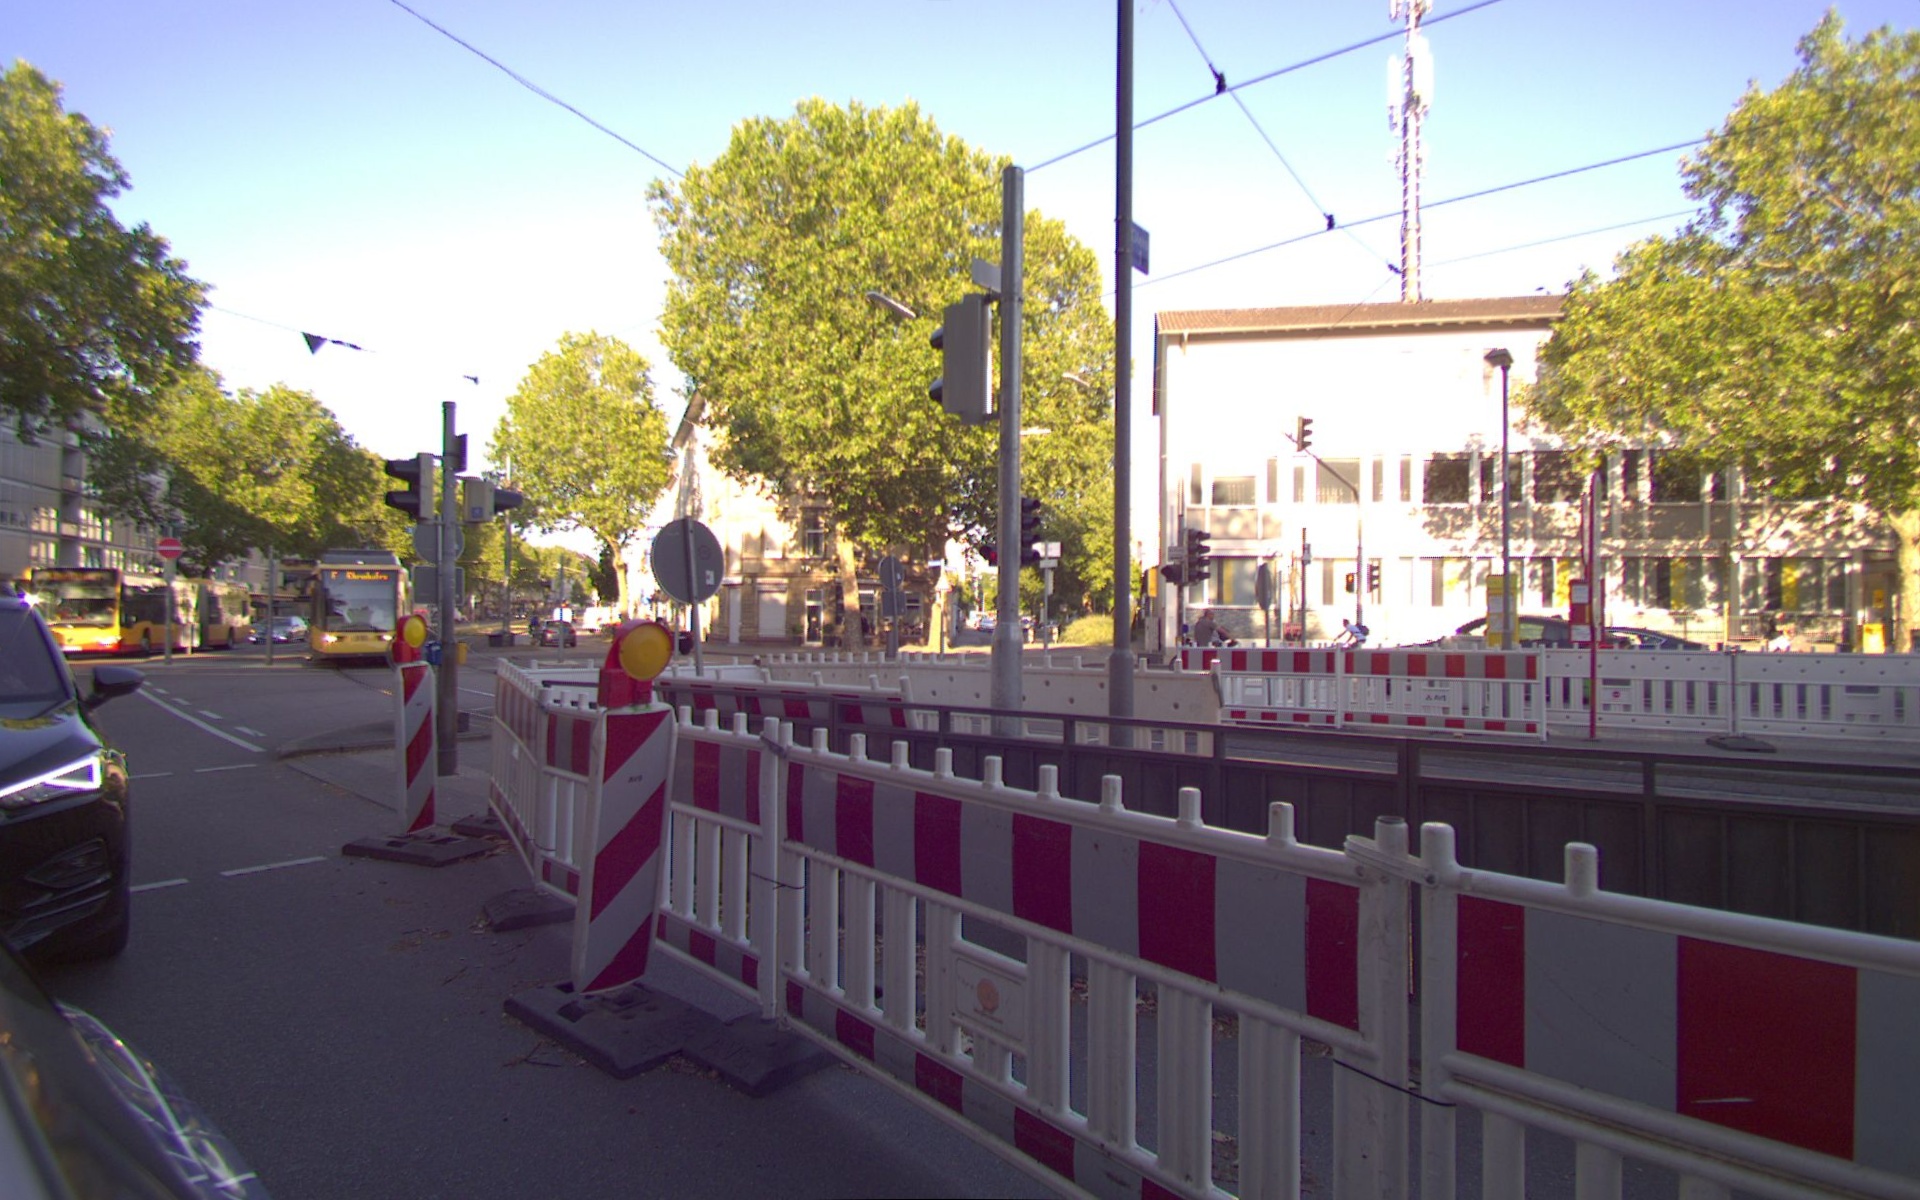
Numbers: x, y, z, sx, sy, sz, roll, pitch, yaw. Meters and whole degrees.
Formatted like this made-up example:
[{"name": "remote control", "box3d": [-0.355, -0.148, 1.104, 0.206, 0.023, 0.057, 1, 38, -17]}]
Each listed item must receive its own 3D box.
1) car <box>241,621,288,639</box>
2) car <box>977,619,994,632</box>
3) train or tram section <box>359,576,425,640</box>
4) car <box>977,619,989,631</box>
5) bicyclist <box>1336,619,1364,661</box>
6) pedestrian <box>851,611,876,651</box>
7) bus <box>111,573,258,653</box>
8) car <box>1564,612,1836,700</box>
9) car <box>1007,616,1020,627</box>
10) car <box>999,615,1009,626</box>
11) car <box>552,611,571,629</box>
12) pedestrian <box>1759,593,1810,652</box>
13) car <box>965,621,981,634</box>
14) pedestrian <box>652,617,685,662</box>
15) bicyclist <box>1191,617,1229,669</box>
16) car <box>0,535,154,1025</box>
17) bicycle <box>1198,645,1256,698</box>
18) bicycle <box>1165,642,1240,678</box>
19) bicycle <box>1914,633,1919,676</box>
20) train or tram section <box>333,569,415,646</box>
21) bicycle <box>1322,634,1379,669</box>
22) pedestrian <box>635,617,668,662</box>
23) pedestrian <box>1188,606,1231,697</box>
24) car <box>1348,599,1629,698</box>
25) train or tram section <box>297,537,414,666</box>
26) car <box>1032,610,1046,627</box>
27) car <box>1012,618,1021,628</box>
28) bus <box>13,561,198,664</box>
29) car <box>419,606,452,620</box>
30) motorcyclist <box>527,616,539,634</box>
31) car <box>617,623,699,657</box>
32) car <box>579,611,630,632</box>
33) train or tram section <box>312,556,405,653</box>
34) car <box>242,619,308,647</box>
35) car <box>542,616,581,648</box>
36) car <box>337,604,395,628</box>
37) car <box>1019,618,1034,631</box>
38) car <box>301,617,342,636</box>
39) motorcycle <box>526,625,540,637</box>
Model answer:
[{"name": "car", "box3d": [-50.878, 2.162, 74.045, 1.198, 1.226, 2.599, 0, -1, 34]}, {"name": "car", "box3d": [2.919, 2.872, 115.234, 1.705, 1.505, 3.994, 0, -1, 4]}, {"name": "train or tram section", "box3d": [-33.790, 0.510, 60.523, 2.795, 3.514, 10.372, 0, -1, -26]}, {"name": "car", "box3d": [3.854, 4.220, 171.683, 1.828, 2.031, 3.994, 0, -1, 4]}, {"name": "bicyclist", "box3d": [11.158, 1.146, 28.958, 0.661, 1.182, 0.407, -1, -1, 32]}, {"name": "pedestrian", "box3d": [-4.308, 1.360, 45.028, 0.801, 1.769, 0.787, -1, -2, 41]}, {"name": "bus", "box3d": [-33.641, 0.610, 44.360, 2.707, 3.127, 9.528, 1, -1, -23]}, {"name": "car", "box3d": [15.826, 1.131, 21.939, 4.576, 1.679, 1.878, -1, 0, 35]}, {"name": "car", "box3d": [7.163, 2.883, 135.003, 1.705, 1.505, 3.994, 0, -1, 4]}, {"name": "car", "box3d": [8.547, 3.974, 195.050, 1.828, 2.031, 3.994, 0, -1, 4]}, {"name": "car", "box3d": [-50.946, 2.573, 129.379, 2.131, 2.138, 4.994, 2, -2, -20]}, {"name": "pedestrian", "box3d": [24.811, 0.680, 30.461, 0.875, 1.742, 0.805, 0, -1, 10]}, {"name": "car", "box3d": [1.548, 3.222, 121.008, 1.705, 1.505, 3.994, 0, -1, 4]}, {"name": "pedestrian", "box3d": [-10.050, 1.350, 34.956, 0.795, 1.520, 0.793, 0, -1, 17]}, {"name": "bicyclist", "box3d": [6.379, 1.083, 25.829, 0.803, 1.304, 0.555, -1, -1, 34]}, {"name": "car", "box3d": [-5.152, 0.643, 4.604, 4.301, 1.670, 1.823, -1, 0, 45]}, {"name": "bicycle", "box3d": [5.240, 1.379, 19.795, 1.558, 0.973, 0.322, 1, -2, -44]}, {"name": "bicycle", "box3d": [6.210, 1.533, 25.931, 1.796, 0.869, 0.555, -1, -1, 34]}, {"name": "bicycle", "box3d": [21.174, 1.164, 21.355, 1.463, 0.902, 0.457, -1, -2, 37]}, {"name": "train or tram section", "box3d": [-29.366, 0.412, 51.074, 2.830, 3.514, 10.372, 0, -1, -26]}, {"name": "bicycle", "box3d": [11.163, 1.471, 28.951, 1.457, 0.974, 0.407, -1, -1, 33]}, {"name": "pedestrian", "box3d": [-10.425, 1.326, 34.206, 0.794, 1.520, 0.794, 0, -1, 12]}, {"name": "pedestrian", "box3d": [4.974, 1.008, 20.192, 0.588, 1.772, 0.597, 1, -2, -43]}, {"name": "car", "box3d": [10.037, 0.854, 19.375, 4.576, 1.679, 1.878, -1, 0, 35]}, {"name": "train or tram section", "box3d": [-19.432, 0.116, 32.746, 2.777, 3.514, 10.370, 0, -1, -30]}, {"name": "car", "box3d": [10.573, 2.464, 135.704, 1.828, 2.160, 3.994, 0, -1, 4]}, {"name": "car", "box3d": [11.131, 4.572, 199.360, 1.828, 2.031, 3.994, 0, -1, 4]}, {"name": "bus", "box3d": [-29.700, 0.471, 35.703, 2.707, 3.127, 9.527, 1, -1, -26]}, {"name": "car", "box3d": [-77.490, 1.925, 149.476, 1.874, 2.029, 3.956, -1, -1, 32]}, {"name": "motorcyclist", "box3d": [-30.808, 1.807, 73.005, 0.671, 1.325, 0.987, 1, -1, -32]}, {"name": "car", "box3d": [-13.824, 1.807, 46.142, 1.968, 1.459, 4.545, 1, -2, -40]}, {"name": "car", "box3d": [-34.016, 2.024, 96.950, 1.895, 1.991, 4.604, -1, -1, 29]}, {"name": "train or tram section", "box3d": [-24.638, 0.238, 41.849, 2.795, 3.514, 10.371, 0, -1, -28]}, {"name": "car", "box3d": [-38.346, 1.824, 56.762, 1.880, 1.486, 4.431, 1, 0, -17]}, {"name": "car", "box3d": [-21.801, 1.739, 55.358, 1.920, 1.667, 4.705, 0, -2, -22]}, {"name": "car", "box3d": [-61.595, 1.677, 105.015, 1.873, 2.394, 4.817, 0, 0, 30]}, {"name": "car", "box3d": [7.912, 2.876, 120.604, 1.705, 1.505, 3.994, 0, -1, 4]}, {"name": "car", "box3d": [-52.338, 2.139, 82.937, 1.201, 1.484, 2.592, 0, -1, 43]}, {"name": "motorcycle", "box3d": [-30.820, 2.249, 73.004, 0.671, 0.814, 2.001, 1, 0, -32]}]
